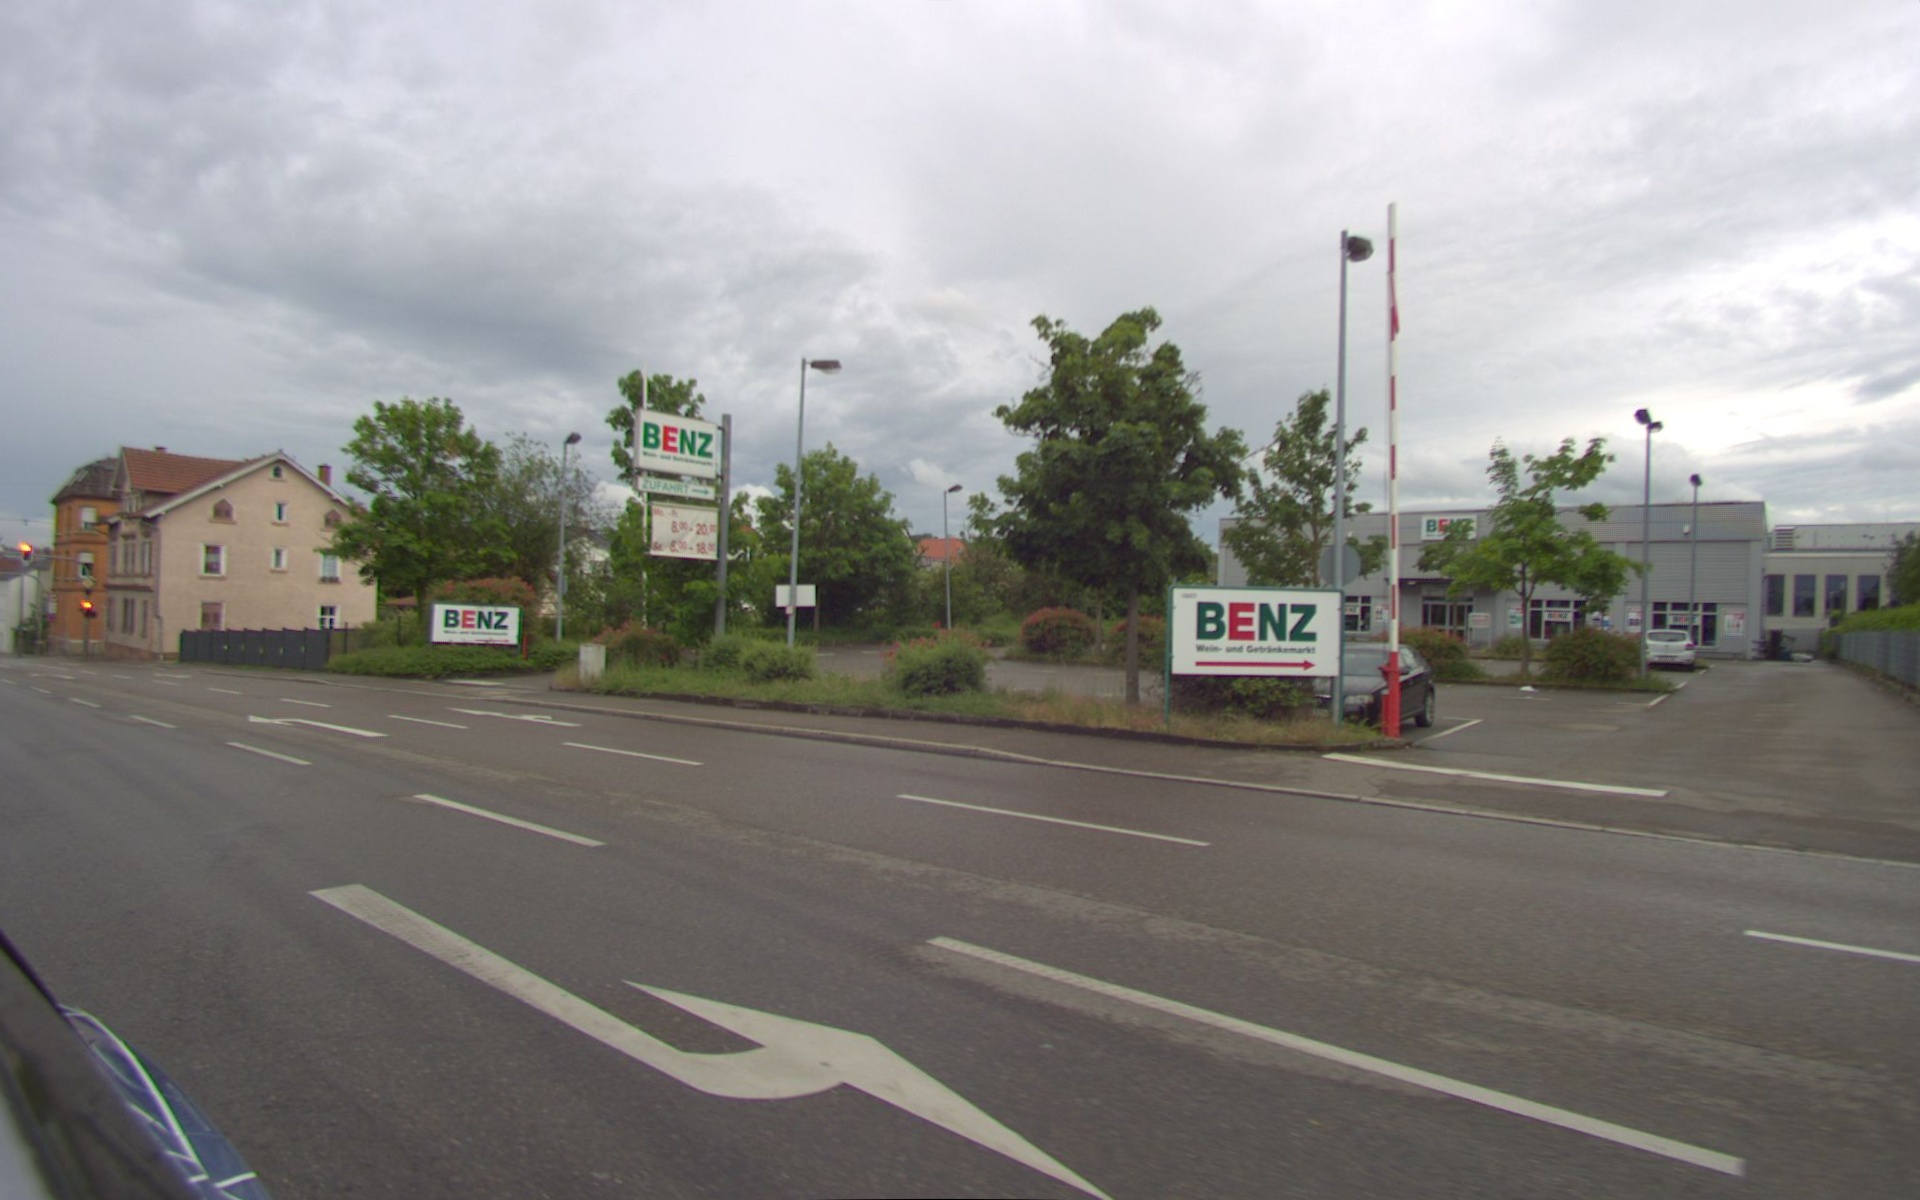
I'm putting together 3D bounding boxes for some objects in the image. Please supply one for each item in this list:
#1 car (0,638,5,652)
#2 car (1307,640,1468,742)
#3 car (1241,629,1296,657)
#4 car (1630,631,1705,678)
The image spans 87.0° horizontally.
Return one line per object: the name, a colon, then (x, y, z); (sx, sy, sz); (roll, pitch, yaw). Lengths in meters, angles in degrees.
car: (-118.209, 5.509, 121.954); (2.153, 1.620, 4.482); (-2, -1, 43)
car: (7.332, 1.452, 17.206); (1.543, 1.475, 3.451); (-1, -2, 41)
car: (19.986, 2.755, 65.507); (1.998, 1.697, 3.947); (-1, -1, 40)
car: (26.552, 1.976, 37.923); (1.998, 1.608, 3.947); (-1, -1, 39)
